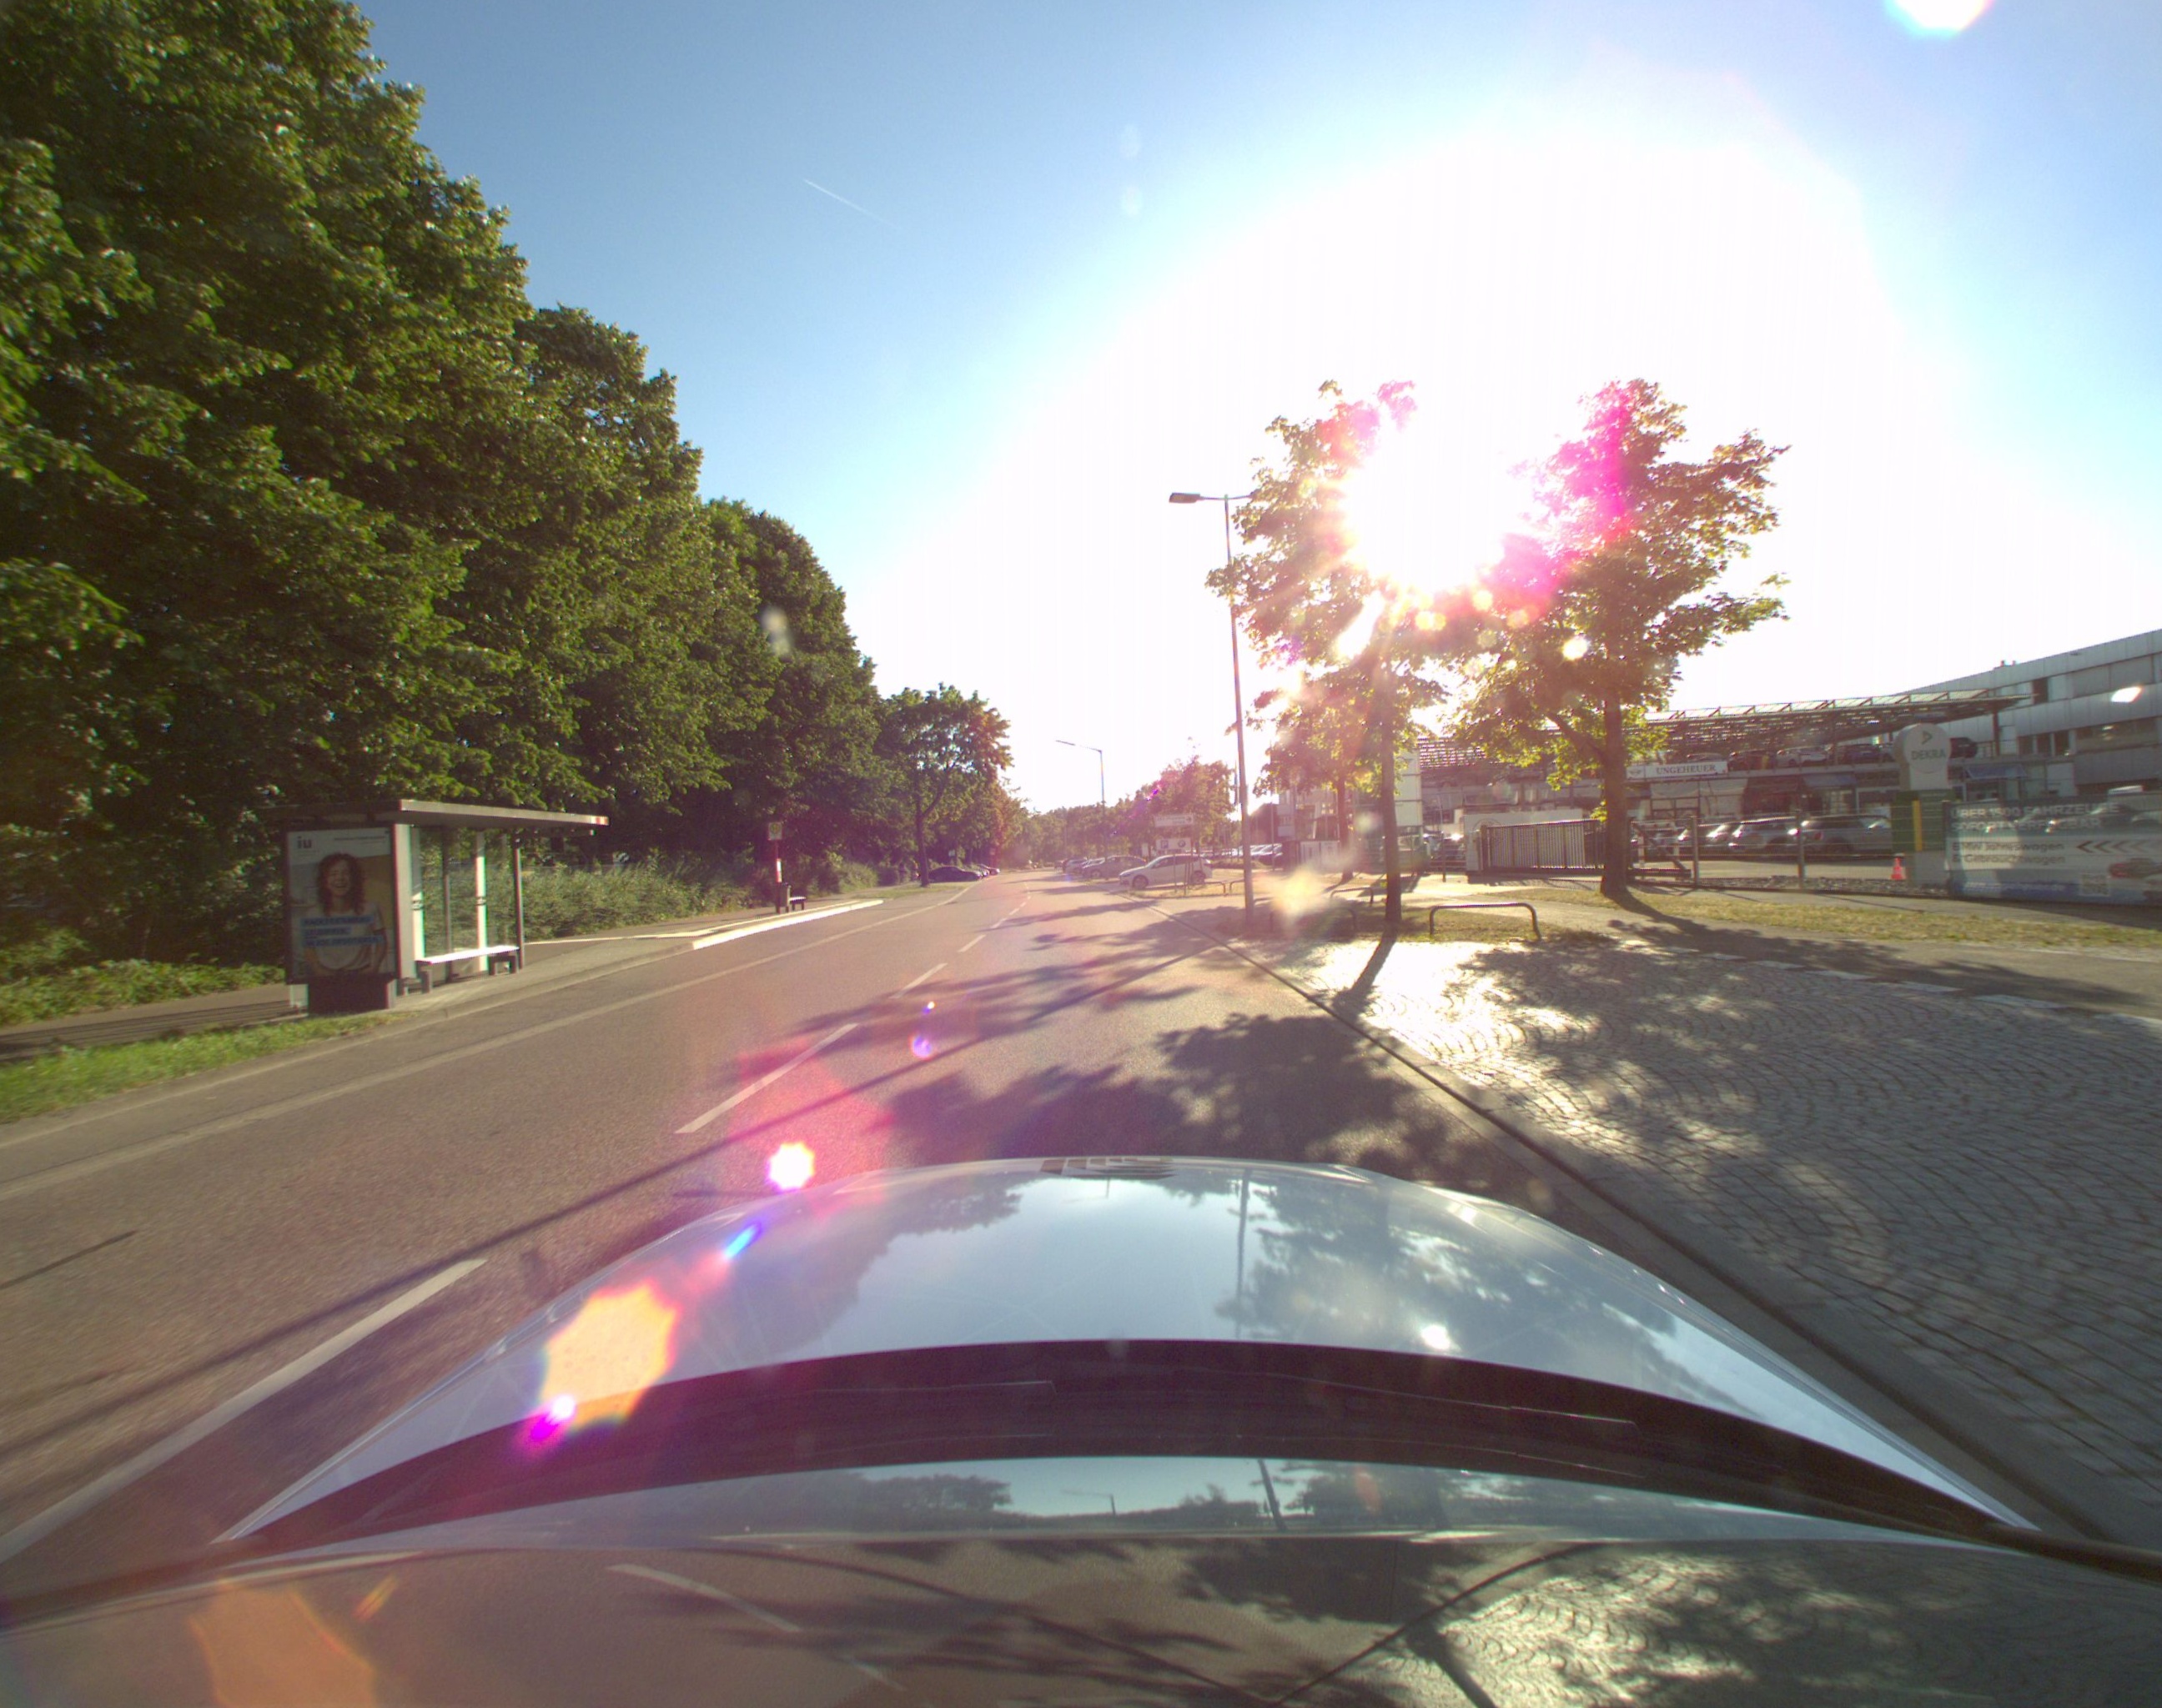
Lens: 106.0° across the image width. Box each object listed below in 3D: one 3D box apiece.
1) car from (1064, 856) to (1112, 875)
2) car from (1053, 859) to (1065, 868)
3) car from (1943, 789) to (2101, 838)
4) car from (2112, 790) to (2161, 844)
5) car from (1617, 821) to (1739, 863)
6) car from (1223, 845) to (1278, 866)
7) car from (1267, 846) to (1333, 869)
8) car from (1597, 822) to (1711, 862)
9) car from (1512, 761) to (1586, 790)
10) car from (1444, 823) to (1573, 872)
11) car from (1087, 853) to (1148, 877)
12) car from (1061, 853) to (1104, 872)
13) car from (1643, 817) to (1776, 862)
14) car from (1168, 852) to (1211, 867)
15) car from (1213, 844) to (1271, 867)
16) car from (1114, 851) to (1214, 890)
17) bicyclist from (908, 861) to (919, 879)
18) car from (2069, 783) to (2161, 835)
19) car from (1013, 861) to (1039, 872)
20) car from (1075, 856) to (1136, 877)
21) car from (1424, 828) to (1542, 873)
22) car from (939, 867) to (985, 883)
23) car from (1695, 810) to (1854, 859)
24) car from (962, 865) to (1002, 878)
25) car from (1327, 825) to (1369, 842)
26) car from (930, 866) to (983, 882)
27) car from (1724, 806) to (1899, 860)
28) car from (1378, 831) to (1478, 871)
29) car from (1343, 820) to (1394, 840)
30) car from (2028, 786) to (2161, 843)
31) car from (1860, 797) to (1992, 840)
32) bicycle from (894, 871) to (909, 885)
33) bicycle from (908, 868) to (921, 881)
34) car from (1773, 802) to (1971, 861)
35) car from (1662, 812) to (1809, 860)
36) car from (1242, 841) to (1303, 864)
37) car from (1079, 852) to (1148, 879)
[{"bbox_3d":[0.736,1.140,83.483,4.686,1.478,1.998,-4,4,-4],"label":"car"},{"bbox_3d":[-4.229,1.886,158.617,1.985,1.717,4.003,-2,0,3],"label":"car"},{"bbox_3d":[40.079,-1.696,34.814,3.960,1.741,2.007,-3,-1,12],"label":"car"},{"bbox_3d":[33.701,-1.198,23.795,3.957,1.578,2.008,-3,-1,16],"label":"car"},{"bbox_3d":[27.079,-0.519,37.086,3.957,1.579,2.008,-3,-3,15],"label":"car"},{"bbox_3d":[15.008,0.161,71.953,4.620,1.574,1.980,-3,-1,-31],"label":"car"},{"bbox_3d":[16.195,0.265,60.168,4.619,1.666,1.980,-1,-1,-31],"label":"car"},{"bbox_3d":[27.567,-0.535,39.337,3.957,1.579,2.008,-3,-3,15],"label":"car"},{"bbox_3d":[31.531,-5.261,54.915,3.962,1.666,1.792,0,0,10],"label":"car"},{"bbox_3d":[16.092,-0.227,30.883,3.957,1.578,2.008,-3,-1,15],"label":"car"},{"bbox_3d":[2.734,0.805,61.932,4.368,1.479,1.997,-4,-1,-4],"label":"car"},{"bbox_3d":[0.220,0.953,91.146,4.679,1.751,2.192,-3,0,0],"label":"car"},{"bbox_3d":[26.663,-0.562,34.709,3.957,1.579,2.008,-3,-3,15],"label":"car"},{"bbox_3d":[12.896,0.660,96.937,4.727,1.464,2.013,-4,-1,38],"label":"car"},{"bbox_3d":[14.855,0.130,75.020,4.745,1.690,2.387,-4,-1,-31],"label":"car"},{"bbox_3d":[3.792,0.738,37.744,4.193,1.444,2.084,-4,0,-6],"label":"car"},{"bbox_3d":[-14.871,1.392,72.400,0.729,1.530,0.950,-3,-1,-4],"label":"bicyclist"},{"bbox_3d":[39.152,-1.694,29.417,3.960,1.741,2.007,-3,-1,12],"label":"car"},{"bbox_3d":[-11.466,2.565,170.332,4.983,2.020,2.177,-3,-1,3],"label":"car"},{"bbox_3d":[1.899,0.983,64.845,4.616,1.456,1.997,-3,0,-4],"label":"car"},{"bbox_3d":[16.317,-0.130,33.303,3.957,1.578,2.008,-3,-1,15],"label":"car"},{"bbox_3d":[-11.696,2.063,80.360,4.276,1.531,1.998,-1,-1,-3],"label":"car"},{"bbox_3d":[25.488,-0.686,30.097,3.958,1.530,1.932,-3,-1,14],"label":"car"},{"bbox_3d":[-12.783,2.255,105.316,5.024,1.462,1.997,-1,-1,-4],"label":"car"},{"bbox_3d":[27.875,-2.168,85.234,3.963,1.666,1.792,0,0,9],"label":"car"},{"bbox_3d":[-11.355,1.832,74.680,4.643,1.422,1.912,-1,-1,-6],"label":"car"},{"bbox_3d":[24.754,-0.671,27.770,3.958,1.530,1.932,-3,-1,14],"label":"car"},{"bbox_3d":[16.001,-0.139,37.750,3.957,1.578,2.008,-3,-1,15],"label":"car"},{"bbox_3d":[25.380,-2.097,72.047,3.963,1.666,1.792,0,0,9],"label":"car"},{"bbox_3d":[34.132,-1.302,26.416,3.957,1.579,1.912,-3,-3,16],"label":"car"},{"bbox_3d":[41.149,-1.697,39.769,3.960,1.741,2.007,-3,-1,12],"label":"car"},{"bbox_3d":[-14.224,1.878,64.617,0.764,1.039,2.214,-3,-1,-4],"label":"bicycle"},{"bbox_3d":[-14.841,1.830,72.505,0.764,1.039,2.214,-3,-1,-4],"label":"bicycle"},{"bbox_3d":[24.446,-0.660,25.350,3.959,1.530,1.931,-3,-1,13],"label":"car"},{"bbox_3d":[26.020,-0.677,32.543,3.957,1.579,2.169,-3,-3,15],"label":"car"},{"bbox_3d":[15.563,-0.111,66.057,4.618,1.574,1.981,-4,-1,-29],"label":"car"},{"bbox_3d":[2.298,0.810,57.786,4.586,1.584,1.995,-4,-1,-7],"label":"car"}]
